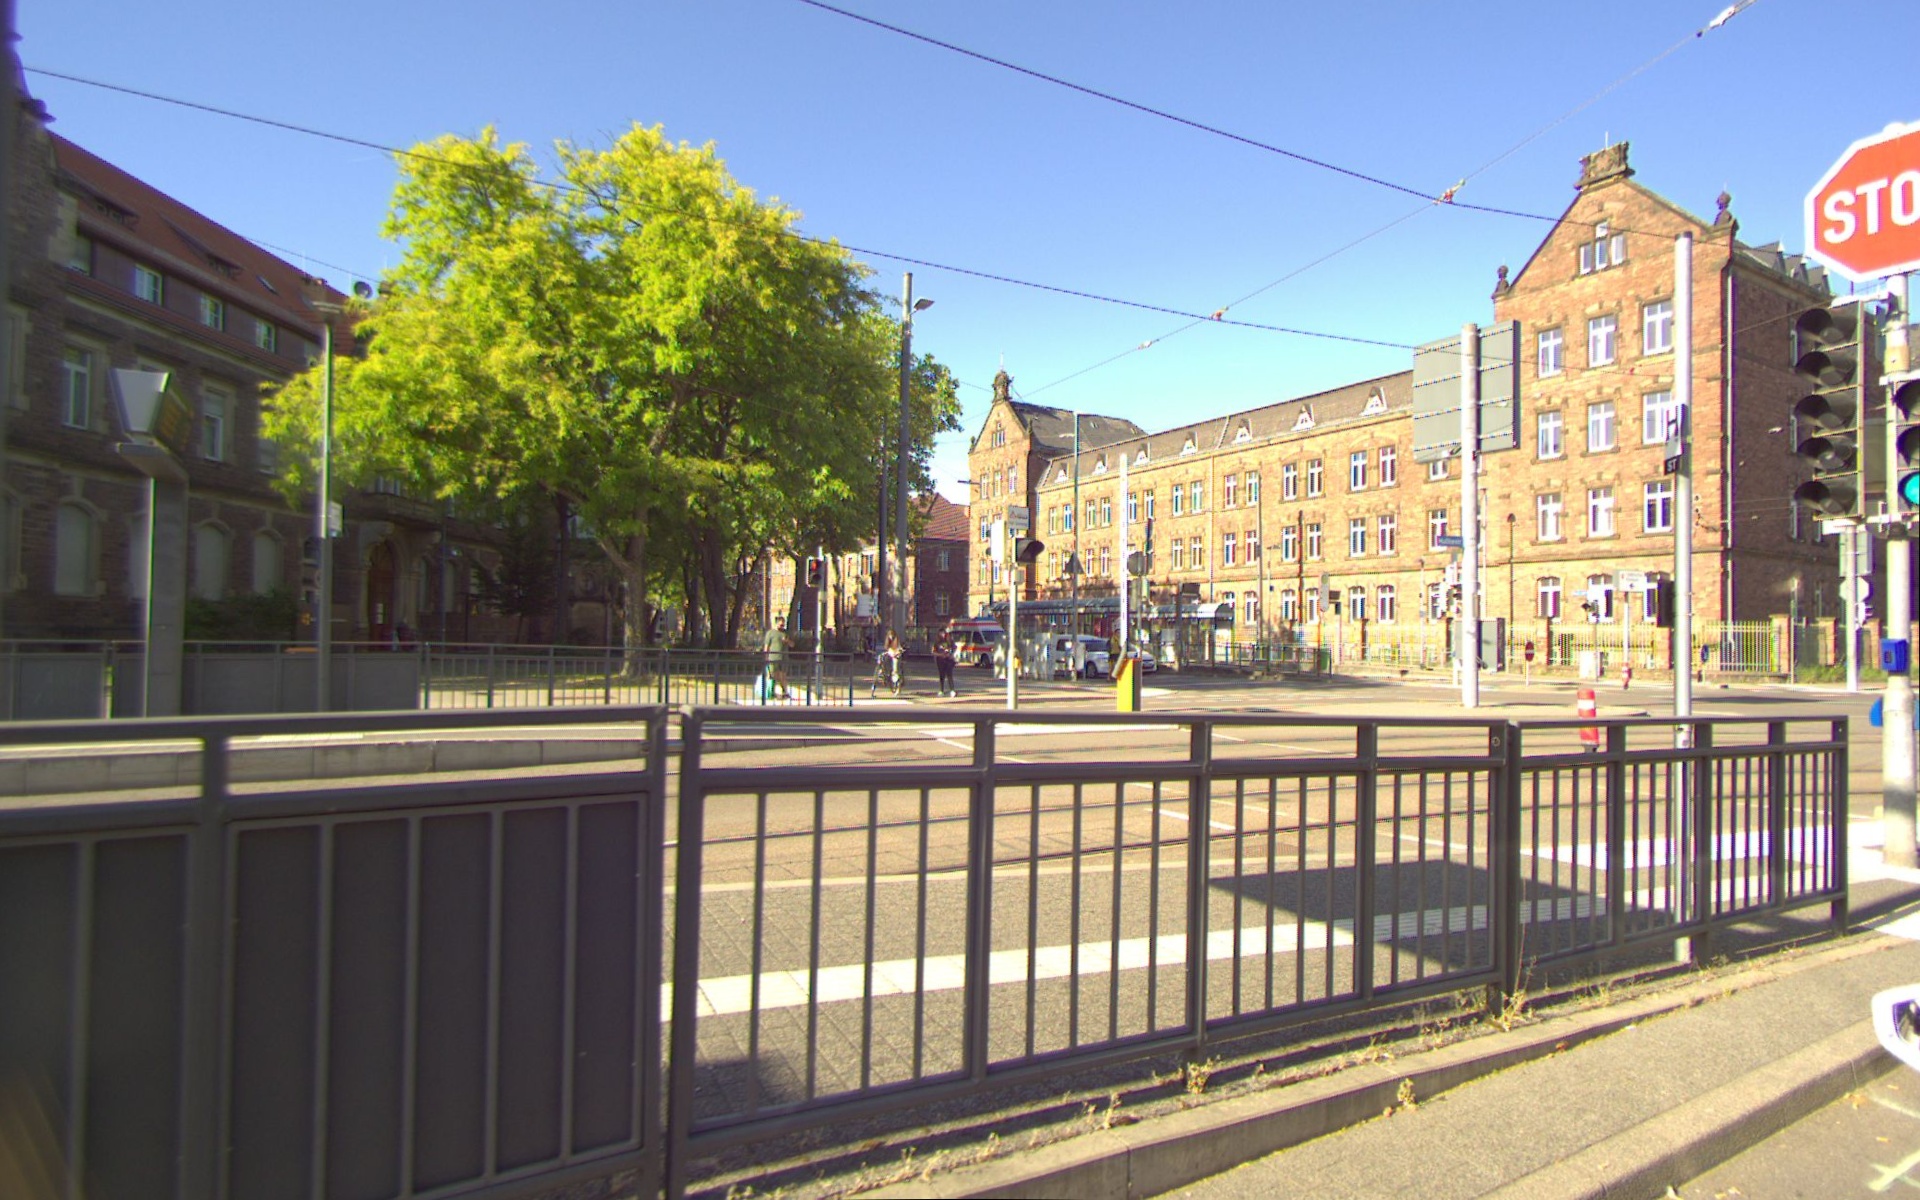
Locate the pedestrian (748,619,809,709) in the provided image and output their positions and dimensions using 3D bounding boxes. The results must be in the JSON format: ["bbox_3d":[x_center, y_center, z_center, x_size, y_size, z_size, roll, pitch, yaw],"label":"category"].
[{"bbox_3d":[-3.890,1.356,21.524,1.083,1.885,0.724,2,-1,-28],"label":"pedestrian"}]

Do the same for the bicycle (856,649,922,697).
[{"bbox_3d":[-1.667,1.714,23.834,0.682,1.063,1.665,0,-2,34],"label":"bicycle"}]

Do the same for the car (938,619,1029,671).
[{"bbox_3d":[1.124,2.213,50.479,2.235,2.485,5.004,2,-2,-30],"label":"car"}]

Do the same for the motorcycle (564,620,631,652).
[{"bbox_3d":[-22.281,2.224,61.780,1.288,1.852,3.759,0,-2,38],"label":"motorcycle"}]

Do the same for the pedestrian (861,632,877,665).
[{"bbox_3d":[-4.609,2.433,50.734,0.533,1.619,0.712,2,-1,-29],"label":"pedestrian"}]

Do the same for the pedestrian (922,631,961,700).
[{"bbox_3d":[-0.445,1.525,23.457,0.816,1.590,0.574,1,0,-10],"label":"pedestrian"}]

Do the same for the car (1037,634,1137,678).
[{"bbox_3d":[4.841,2.134,38.795,1.854,1.542,4.049,2,-2,-28],"label":"car"}]

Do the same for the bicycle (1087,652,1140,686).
[{"bbox_3d":[4.960,2.225,32.622,0.792,1.027,1.727,2,-2,-30],"label":"bicycle"}]

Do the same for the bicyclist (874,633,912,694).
[{"bbox_3d":[-1.595,1.506,23.945,0.679,1.402,0.533,0,-2,34],"label":"bicyclist"}]

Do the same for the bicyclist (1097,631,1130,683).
[{"bbox_3d":[4.982,1.859,32.609,0.792,1.657,0.631,2,-1,-30],"label":"bicyclist"}]

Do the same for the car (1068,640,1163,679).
[{"bbox_3d":[6.411,2.437,41.744,1.854,1.466,4.049,2,-2,-28],"label":"car"}]
